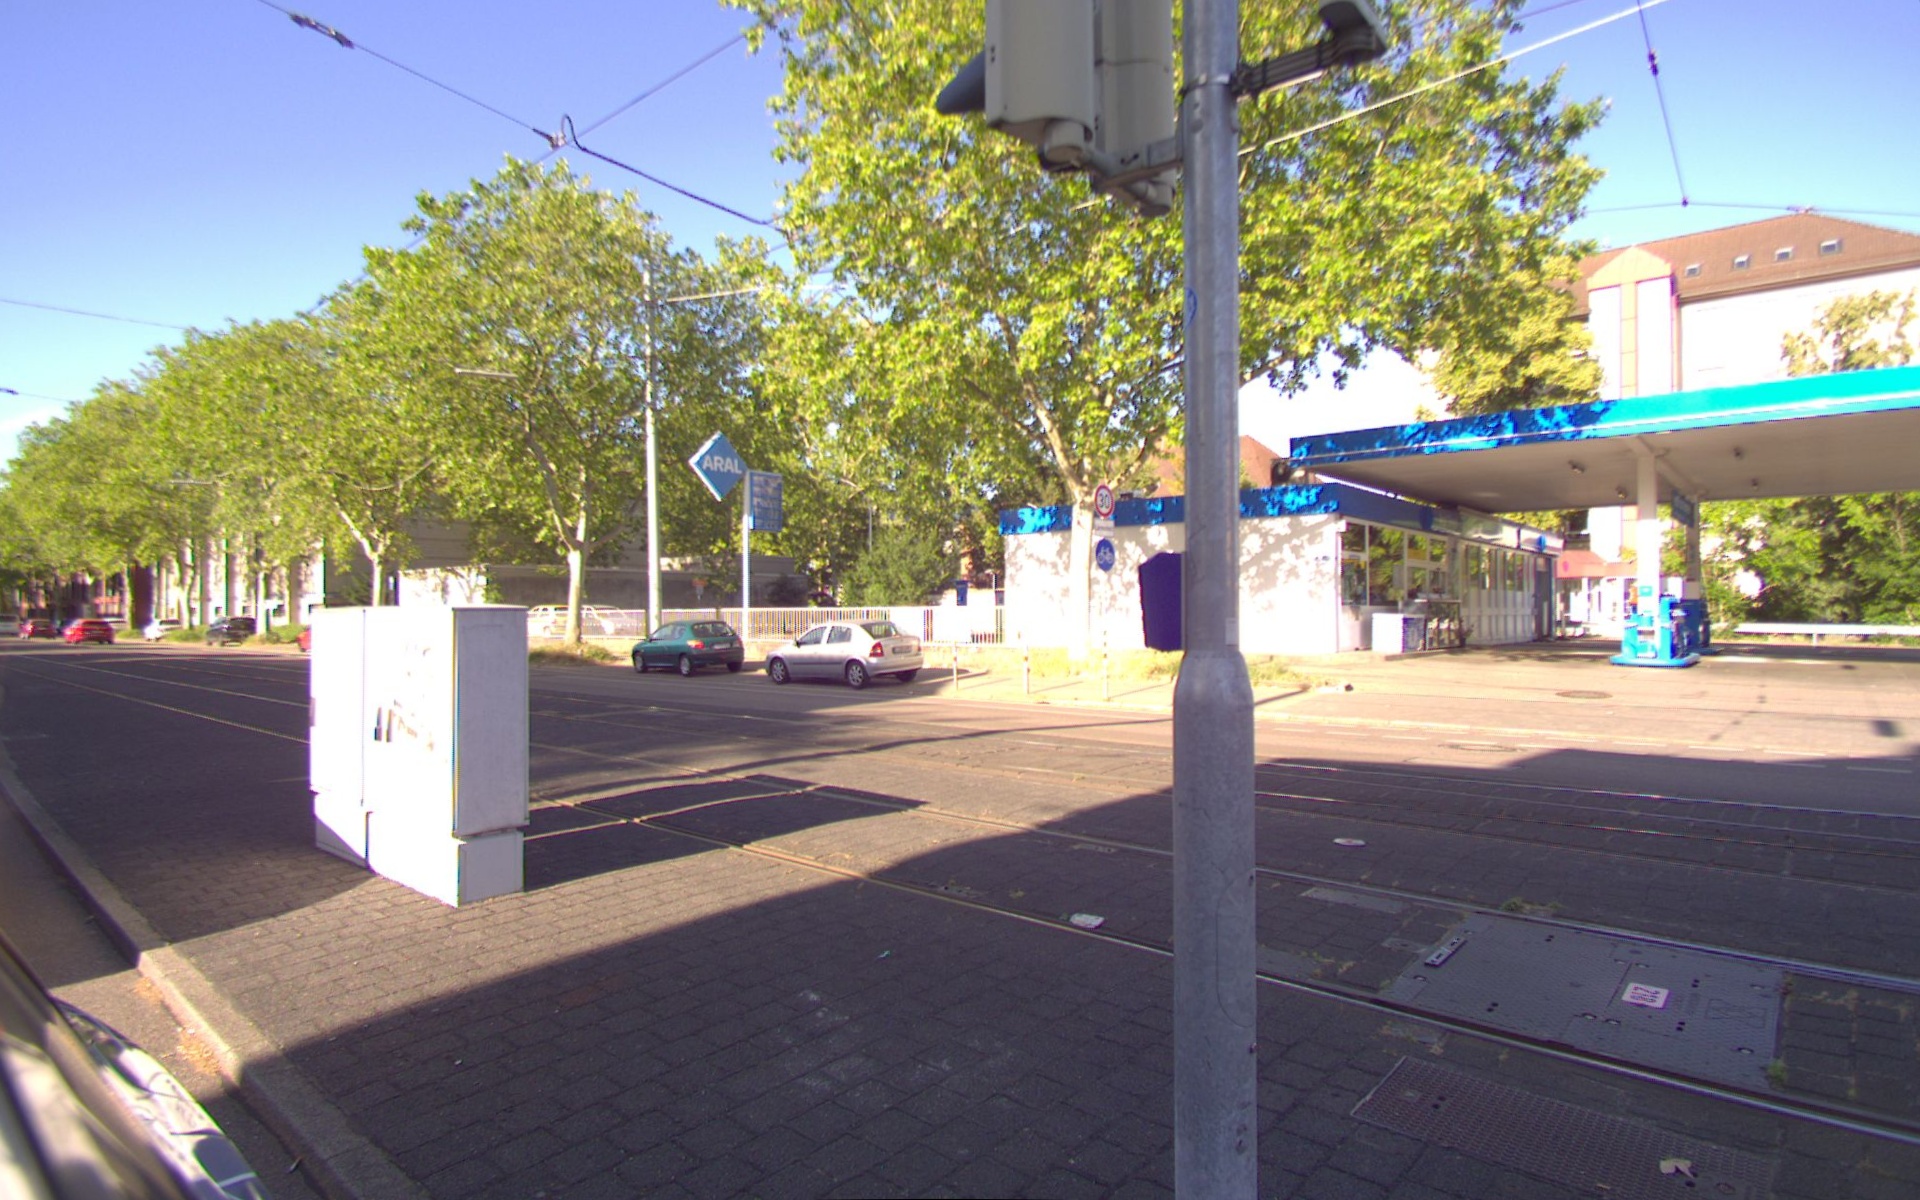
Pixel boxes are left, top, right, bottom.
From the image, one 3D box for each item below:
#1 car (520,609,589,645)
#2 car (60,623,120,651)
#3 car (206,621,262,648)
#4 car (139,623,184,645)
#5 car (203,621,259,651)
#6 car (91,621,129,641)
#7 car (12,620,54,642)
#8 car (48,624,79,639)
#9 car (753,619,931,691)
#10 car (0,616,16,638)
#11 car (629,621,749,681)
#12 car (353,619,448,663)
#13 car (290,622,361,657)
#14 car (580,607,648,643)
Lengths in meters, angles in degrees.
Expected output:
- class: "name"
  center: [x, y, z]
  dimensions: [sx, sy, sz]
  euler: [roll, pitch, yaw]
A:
- class: "car"
  center: [-16.837, 1.103, 41.975]
  dimensions: [3.151, 1.431, 1.525]
  euler: [-1, 0, 44]
- class: "car"
  center: [-50.539, 2.125, 58.759]
  dimensions: [4.761, 1.534, 1.887]
  euler: [-1, -2, 40]
- class: "car"
  center: [-40.602, 1.895, 56.575]
  dimensions: [3.998, 1.420, 1.678]
  euler: [-1, -2, 41]
- class: "car"
  center: [-53.812, 2.298, 68.199]
  dimensions: [3.998, 1.420, 1.678]
  euler: [-1, -2, 41]
- class: "car"
  center: [-40.738, 1.988, 56.535]
  dimensions: [3.998, 1.587, 1.678]
  euler: [-1, -2, 41]
- class: "car"
  center: [-66.814, 2.423, 79.547]
  dimensions: [3.998, 1.569, 1.678]
  euler: [-1, -2, 41]
- class: "car"
  center: [-67.617, 2.254, 73.774]
  dimensions: [3.998, 1.431, 1.678]
  euler: [-1, -7, 41]
- class: "car"
  center: [-85.184, 2.983, 96.164]
  dimensions: [3.998, 1.420, 1.678]
  euler: [-1, -2, 41]
- class: "car"
  center: [-2.700, 1.154, 22.612]
  dimensions: [3.998, 1.431, 1.709]
  euler: [-1, 0, 41]
- class: "car"
  center: [-84.270, 2.333, 88.556]
  dimensions: [4.390, 1.860, 1.827]
  euler: [-1, -2, 39]
- class: "car"
  center: [-7.214, 1.306, 26.829]
  dimensions: [3.253, 1.431, 1.526]
  euler: [-1, 0, 41]
- class: "car"
  center: [-22.229, 1.592, 40.137]
  dimensions: [4.431, 1.534, 1.731]
  euler: [-1, 3, 40]
- class: "car"
  center: [-29.041, 1.764, 46.272]
  dimensions: [3.998, 1.480, 1.678]
  euler: [0, -1, 41]
- class: "car"
  center: [-14.866, 1.053, 43.466]
  dimensions: [3.151, 1.431, 1.525]
  euler: [-1, 0, 44]
